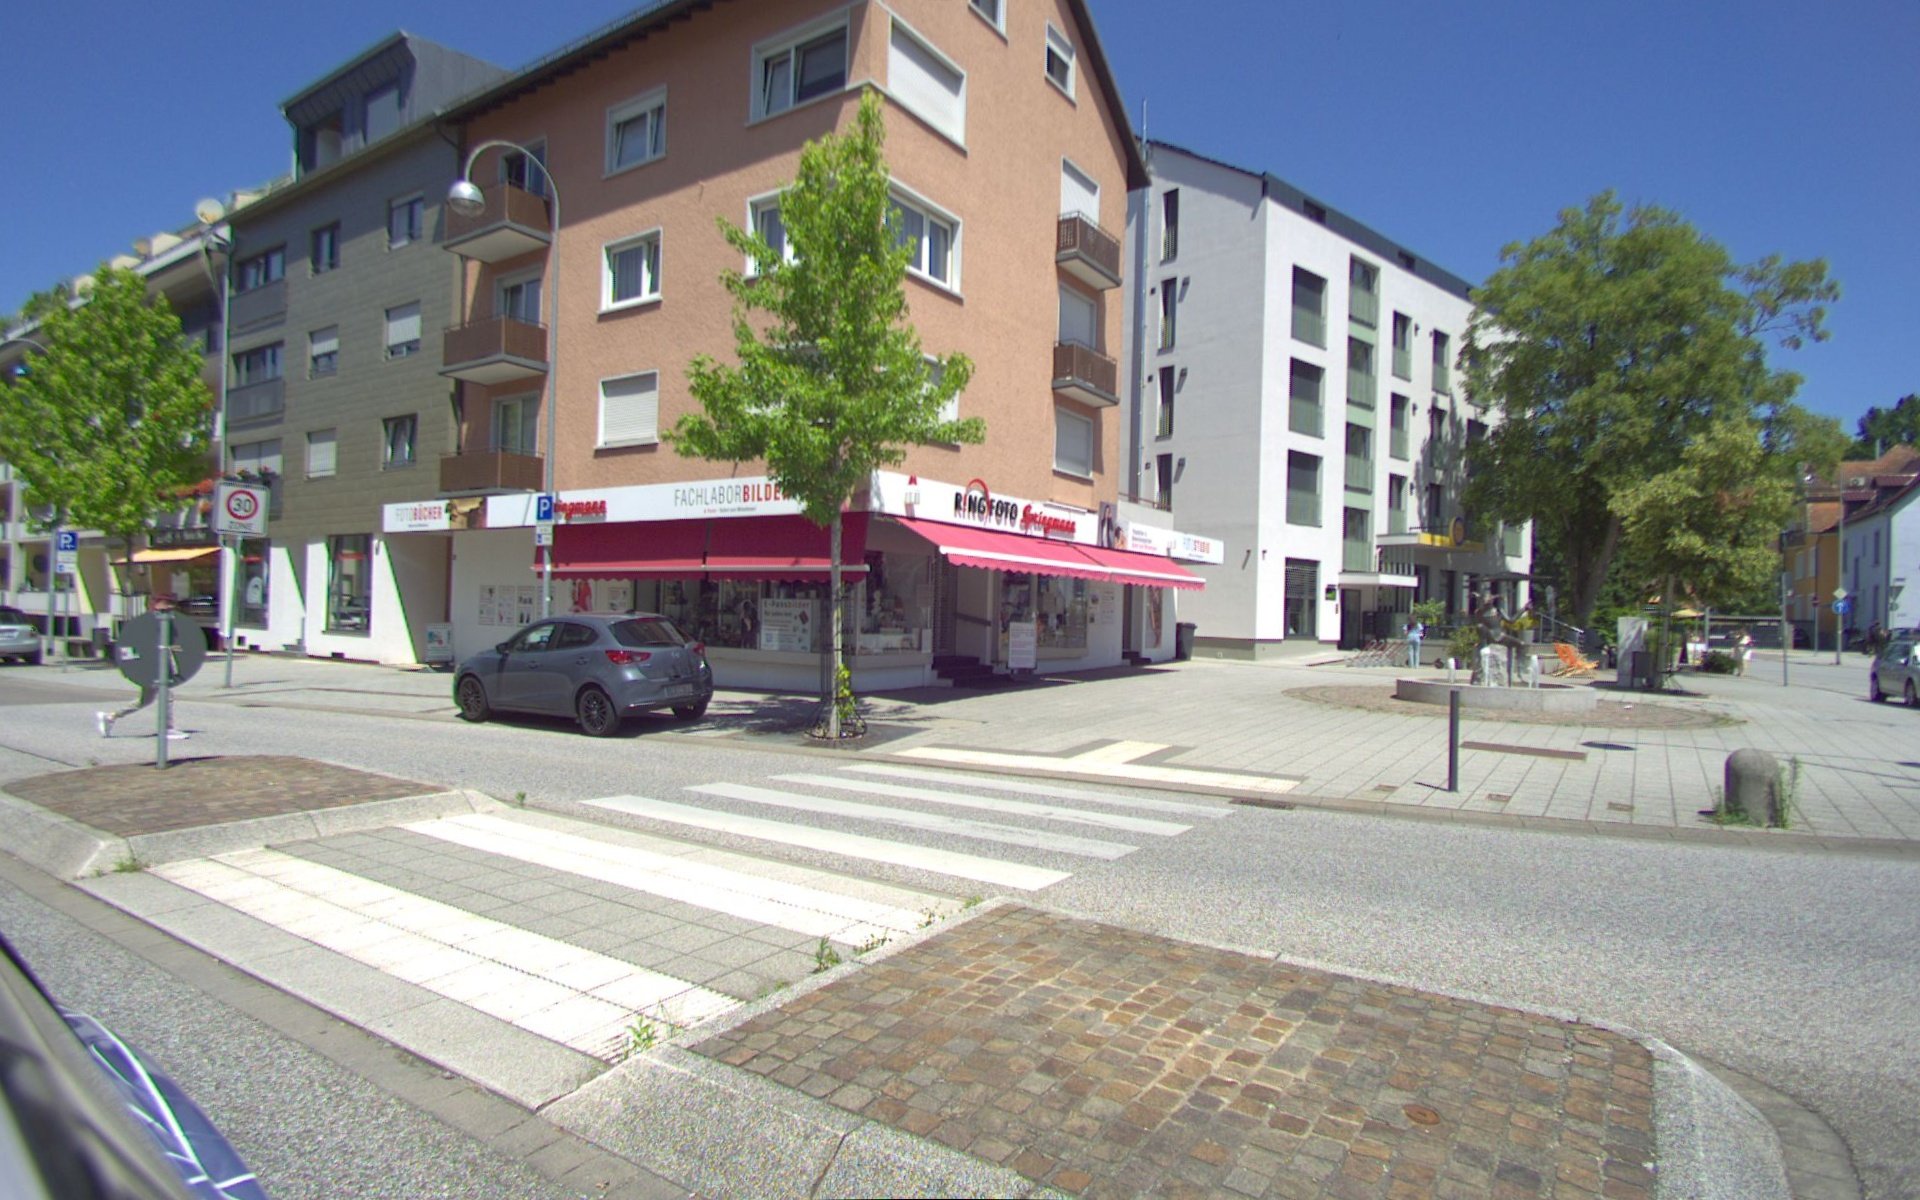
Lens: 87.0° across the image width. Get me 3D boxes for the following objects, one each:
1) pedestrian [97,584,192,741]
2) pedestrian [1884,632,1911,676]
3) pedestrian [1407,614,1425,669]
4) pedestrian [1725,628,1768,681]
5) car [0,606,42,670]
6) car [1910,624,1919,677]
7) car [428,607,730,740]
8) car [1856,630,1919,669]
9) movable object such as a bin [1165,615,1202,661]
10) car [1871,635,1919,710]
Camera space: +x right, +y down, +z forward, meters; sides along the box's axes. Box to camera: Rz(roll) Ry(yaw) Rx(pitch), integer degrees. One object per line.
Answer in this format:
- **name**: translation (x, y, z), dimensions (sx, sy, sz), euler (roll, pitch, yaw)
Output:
- **pedestrian**: translation (-8.798, 0.654, 10.923), dimensions (0.723, 1.622, 0.560), euler (2, -2, -42)
- **pedestrian**: translation (43.467, 2.493, 46.928), dimensions (0.861, 2.029, 0.722), euler (2, -2, -33)
- **pedestrian**: translation (13.747, 1.253, 30.493), dimensions (0.449, 1.631, 0.446), euler (0, -2, 32)
- **pedestrian**: translation (25.600, 1.756, 32.960), dimensions (0.811, 1.661, 0.946), euler (0, -1, 16)
- **car**: translation (-23.727, 0.877, 24.404), dimensions (3.540, 1.485, 1.607), euler (0, -1, 35)
- **car**: translation (38.057, 1.987, 37.670), dimensions (1.977, 2.029, 3.990), euler (0, 1, 8)
- **car**: translation (-5.156, 0.867, 13.556), dimensions (4.046, 1.497, 1.655), euler (0, 1, 31)
- **car**: translation (50.855, 2.653, 54.062), dimensions (1.965, 2.029, 4.013), euler (1, -1, -28)
- **movable object such as a bin**: translation (6.249, 1.053, 28.297), dimensions (0.746, 1.262, 0.827), euler (0, -2, 36)
- **car**: translation (21.199, 1.542, 21.474), dimensions (1.788, 1.536, 3.963), euler (0, -1, 27)
